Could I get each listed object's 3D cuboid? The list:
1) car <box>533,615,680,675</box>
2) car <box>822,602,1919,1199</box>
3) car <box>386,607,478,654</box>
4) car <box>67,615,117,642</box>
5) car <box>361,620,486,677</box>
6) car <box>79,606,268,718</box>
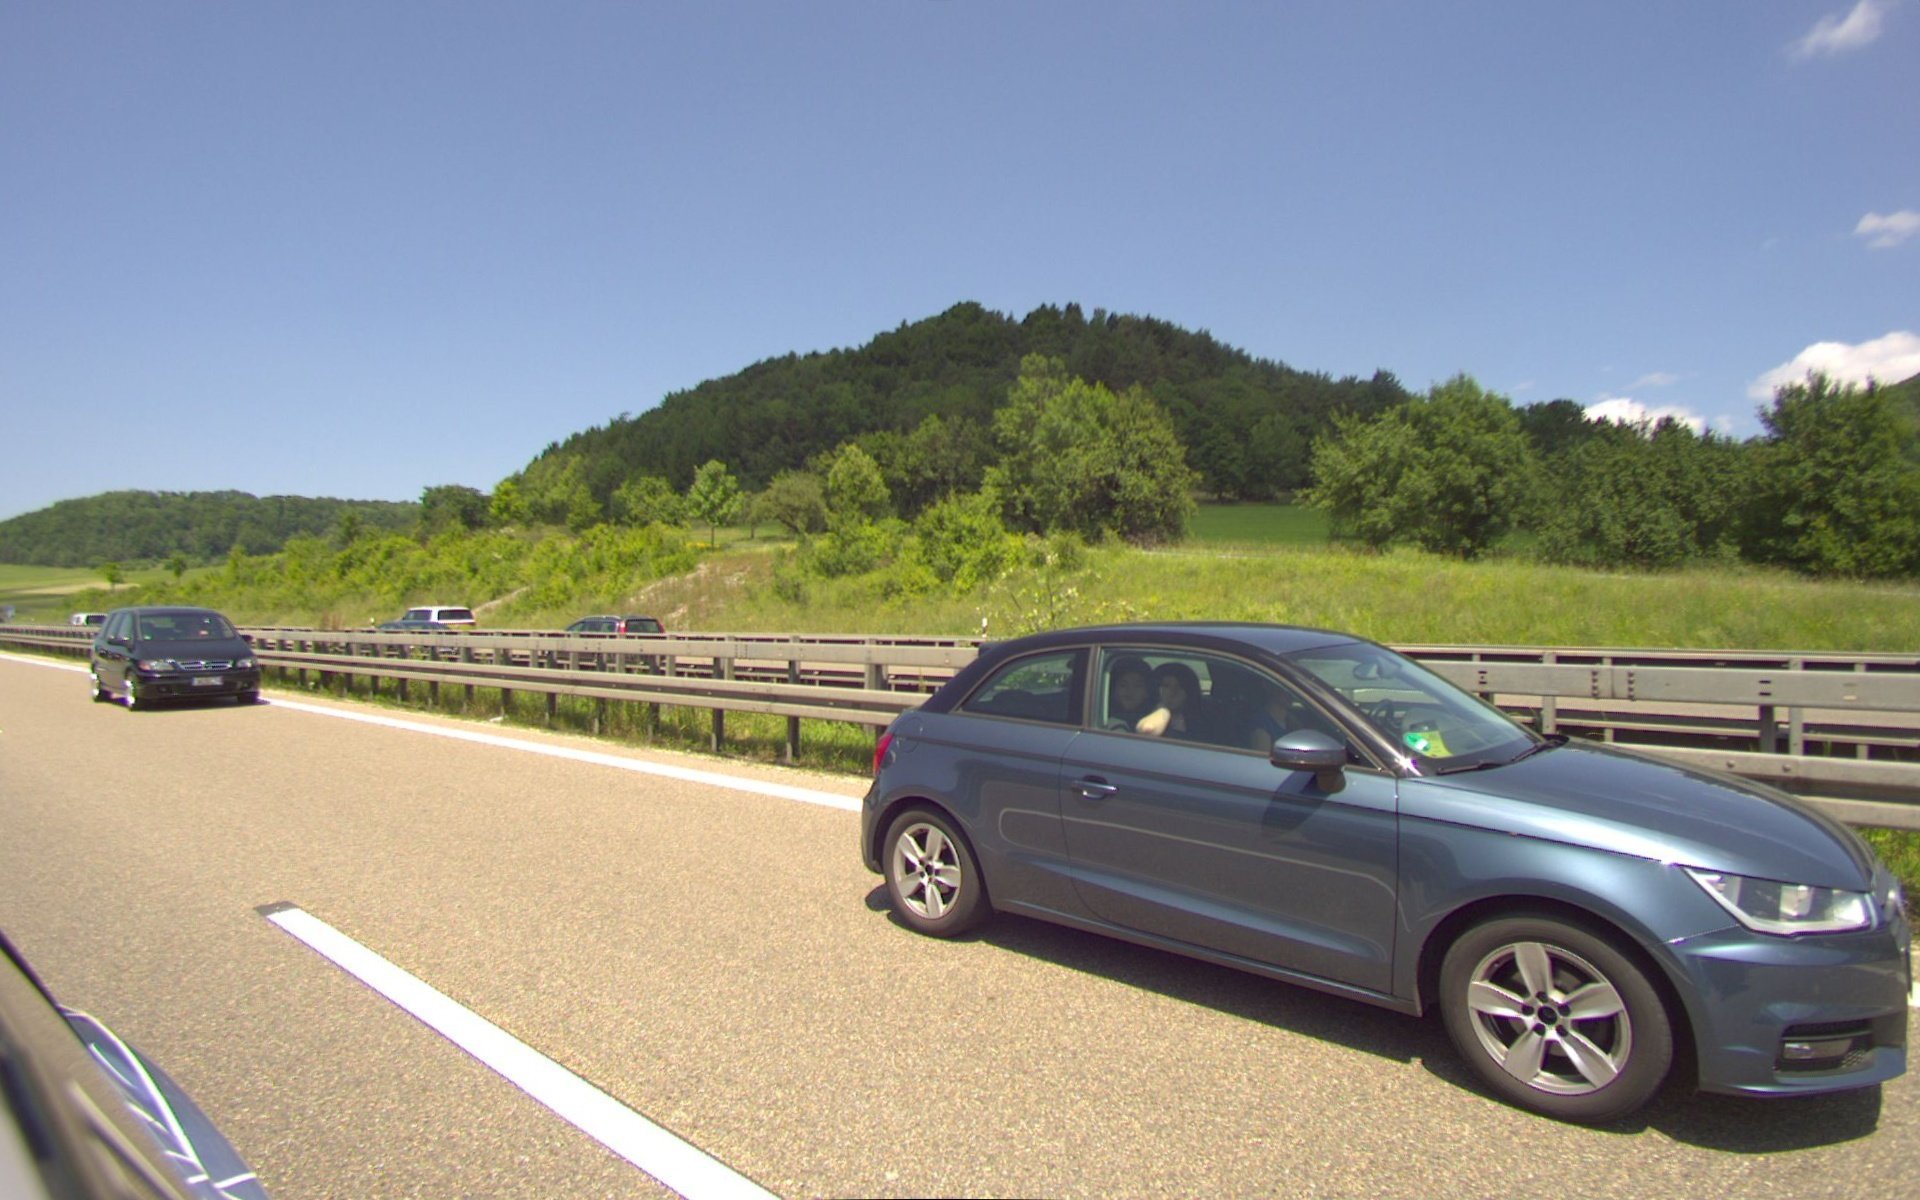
[{"bbox_3d":[-10.037,1.220,28.589,4.518,1.530,1.973,-1,-1,41],"label":"car"},{"bbox_3d":[1.393,0.737,4.101,3.998,1.399,1.671,-1,-1,41],"label":"car"},{"bbox_3d":[-23.315,1.309,44.624,4.658,1.956,2.039,-1,-1,41],"label":"car"},{"bbox_3d":[-61.687,1.990,71.916,5.223,1.853,1.973,-1,-1,41],"label":"car"},{"bbox_3d":[-15.184,1.309,28.560,4.227,1.487,1.714,-1,-1,41],"label":"car"},{"bbox_3d":[-13.343,0.953,17.076,4.445,1.647,1.781,-1,-1,42],"label":"car"}]
